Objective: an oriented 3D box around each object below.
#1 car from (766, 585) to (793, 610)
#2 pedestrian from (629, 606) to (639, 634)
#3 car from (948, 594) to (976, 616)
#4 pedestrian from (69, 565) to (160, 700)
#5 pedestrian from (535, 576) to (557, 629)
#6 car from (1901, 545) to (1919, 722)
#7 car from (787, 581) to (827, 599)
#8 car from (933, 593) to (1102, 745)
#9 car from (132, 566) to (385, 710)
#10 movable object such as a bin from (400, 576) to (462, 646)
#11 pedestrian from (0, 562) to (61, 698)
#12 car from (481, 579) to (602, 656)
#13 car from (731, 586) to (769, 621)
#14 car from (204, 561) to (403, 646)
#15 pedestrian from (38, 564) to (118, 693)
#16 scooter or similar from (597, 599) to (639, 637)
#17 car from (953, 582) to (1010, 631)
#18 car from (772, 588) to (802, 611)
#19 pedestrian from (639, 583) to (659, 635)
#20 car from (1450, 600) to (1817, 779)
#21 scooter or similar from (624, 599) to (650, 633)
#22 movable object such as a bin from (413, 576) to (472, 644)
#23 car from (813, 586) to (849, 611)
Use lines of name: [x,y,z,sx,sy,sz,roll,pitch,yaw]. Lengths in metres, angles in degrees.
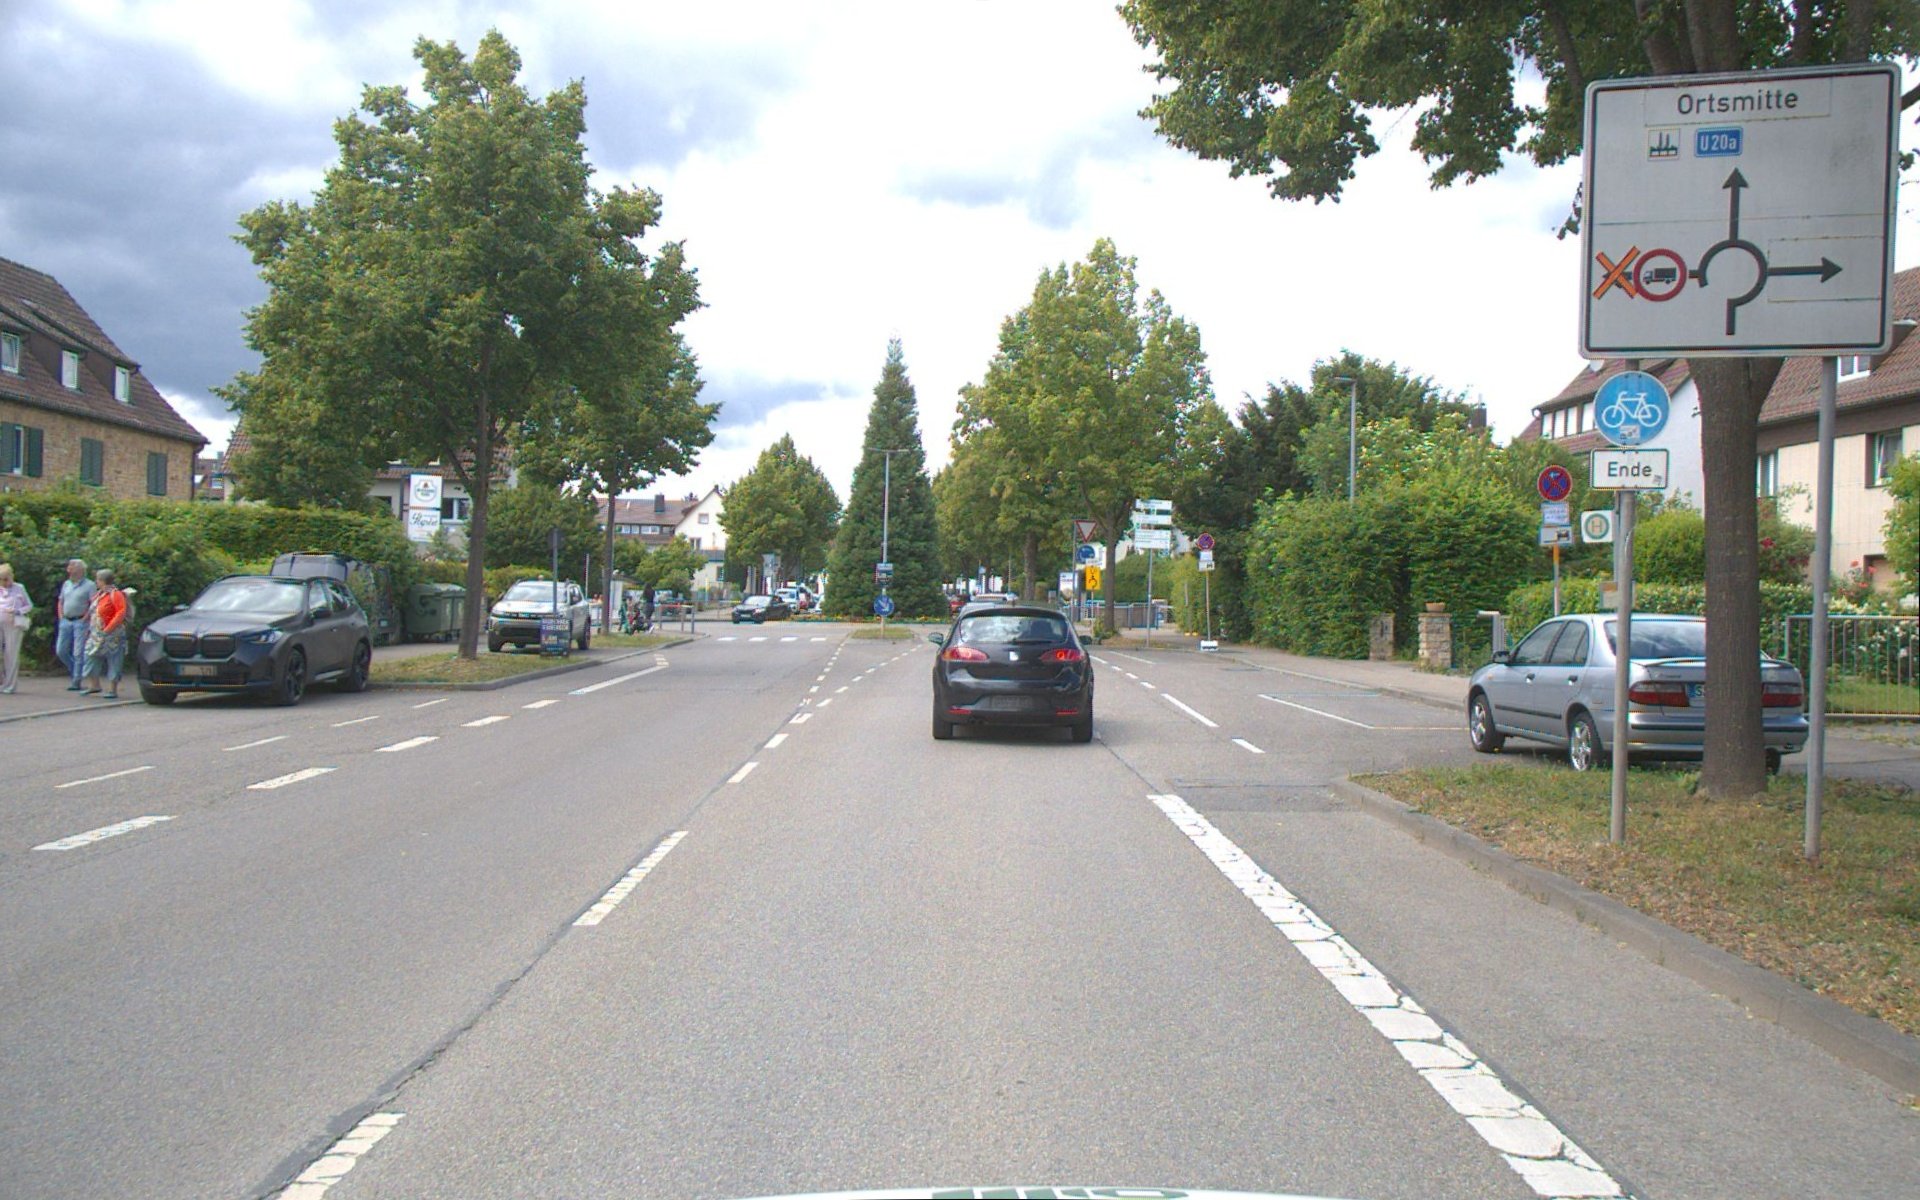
car: [-14.676,-0.186,134.664,1.989,2.005,3.997,0,0,-4]
pedestrian: [-10.656,0.656,54.097,0.235,0.910,0.257,0,0,-30]
car: [0.131,0.328,118.470,1.448,1.515,3.373,1,0,-11]
pedestrian: [-10.956,0.417,21.459,0.772,1.692,0.753,2,0,-8]
pedestrian: [-14.158,0.074,56.553,0.557,1.815,0.533,1,0,-41]
car: [12.065,0.378,16.790,3.908,1.855,1.999,1,0,-3]
car: [-16.842,-1.111,181.735,3.903,2.005,2.037,0,0,18]
car: [0.636,0.687,18.643,1.696,1.512,4.001,0,0,2]
car: [-9.466,0.462,22.742,1.690,1.755,4.562,1,0,-3]
movable object such as a bin: [-13.338,0.268,41.713,1.182,1.680,0.997,3,0,-4]
pedestrian: [-12.002,0.368,20.977,0.772,1.692,0.880,1,0,-8]
car: [-9.824,0.377,39.147,1.823,1.682,4.293,1,0,-1]
car: [-10.175,0.162,80.321,1.537,1.663,3.619,0,0,-3]
car: [-15.525,0.086,39.286,3.906,1.924,2.000,1,0,-1]
pedestrian: [-11.843,0.379,22.216,0.772,1.692,0.590,1,0,-8]
scooter or similar: [-10.670,0.563,51.621,1.272,1.158,0.343,0,0,-33]
car: [0.768,0.225,59.570,1.953,1.641,4.000,1,0,0]
car: [-12.197,-0.034,116.796,1.761,1.629,3.998,0,0,-2]
pedestrian: [-10.416,0.300,55.383,0.477,1.699,0.509,1,0,-35]
car: [5.982,0.751,15.281,1.579,1.401,4.386,1,-1,-1]
scooter or similar: [-10.927,0.535,55.952,0.403,1.114,0.955,3,-1,-42]
movable object such as a bin: [-13.553,0.262,43.388,1.182,1.680,0.997,3,0,-4]
car: [-8.423,-0.085,108.366,1.830,1.588,4.260,0,0,2]
